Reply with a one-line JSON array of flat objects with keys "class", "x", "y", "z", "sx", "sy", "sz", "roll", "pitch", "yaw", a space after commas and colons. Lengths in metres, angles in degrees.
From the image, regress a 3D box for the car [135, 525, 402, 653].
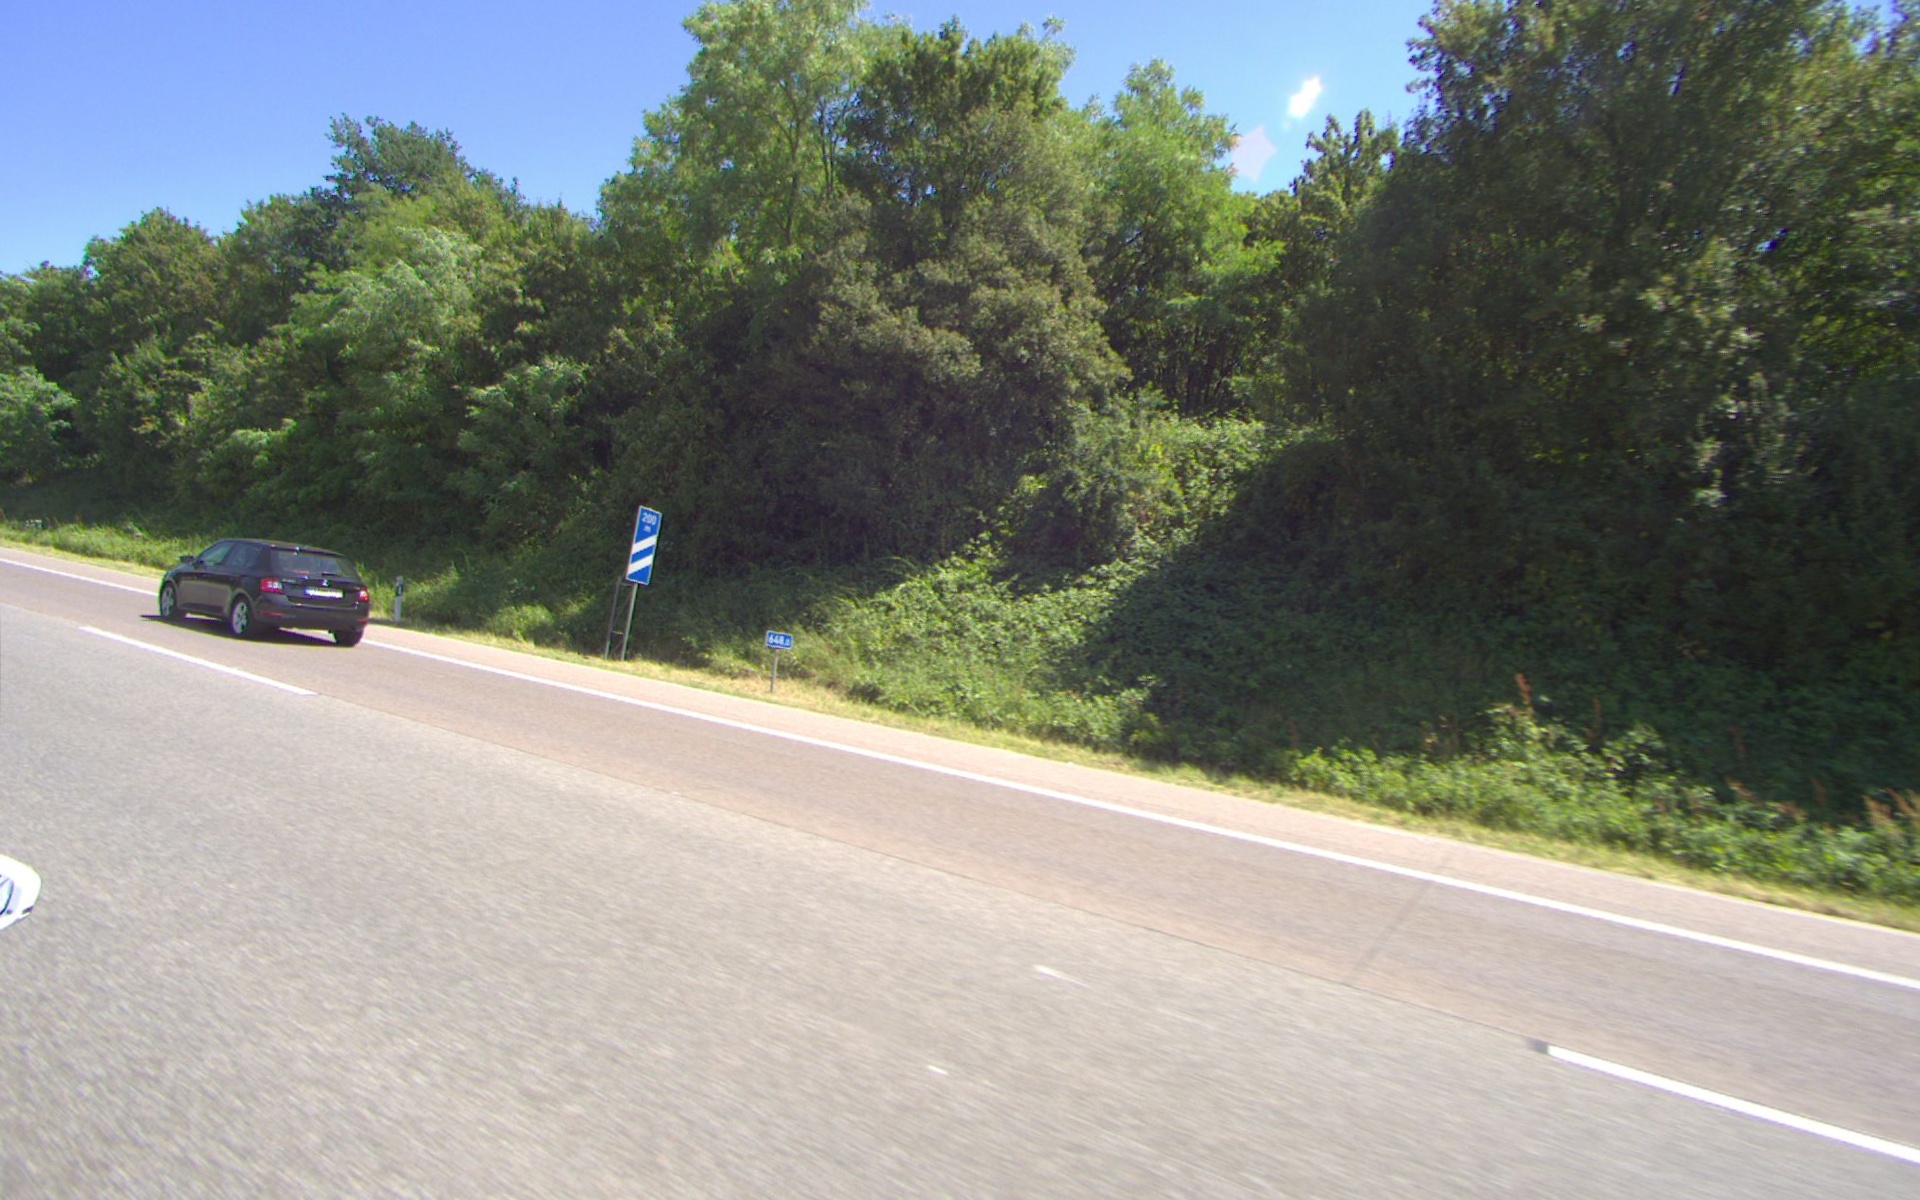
[{"class": "car", "x": -10.905, "y": -0.208, "z": 15.772, "sx": 4.498, "sy": 1.464, "sz": 1.673, "roll": 6, "pitch": -2, "yaw": 32}]
